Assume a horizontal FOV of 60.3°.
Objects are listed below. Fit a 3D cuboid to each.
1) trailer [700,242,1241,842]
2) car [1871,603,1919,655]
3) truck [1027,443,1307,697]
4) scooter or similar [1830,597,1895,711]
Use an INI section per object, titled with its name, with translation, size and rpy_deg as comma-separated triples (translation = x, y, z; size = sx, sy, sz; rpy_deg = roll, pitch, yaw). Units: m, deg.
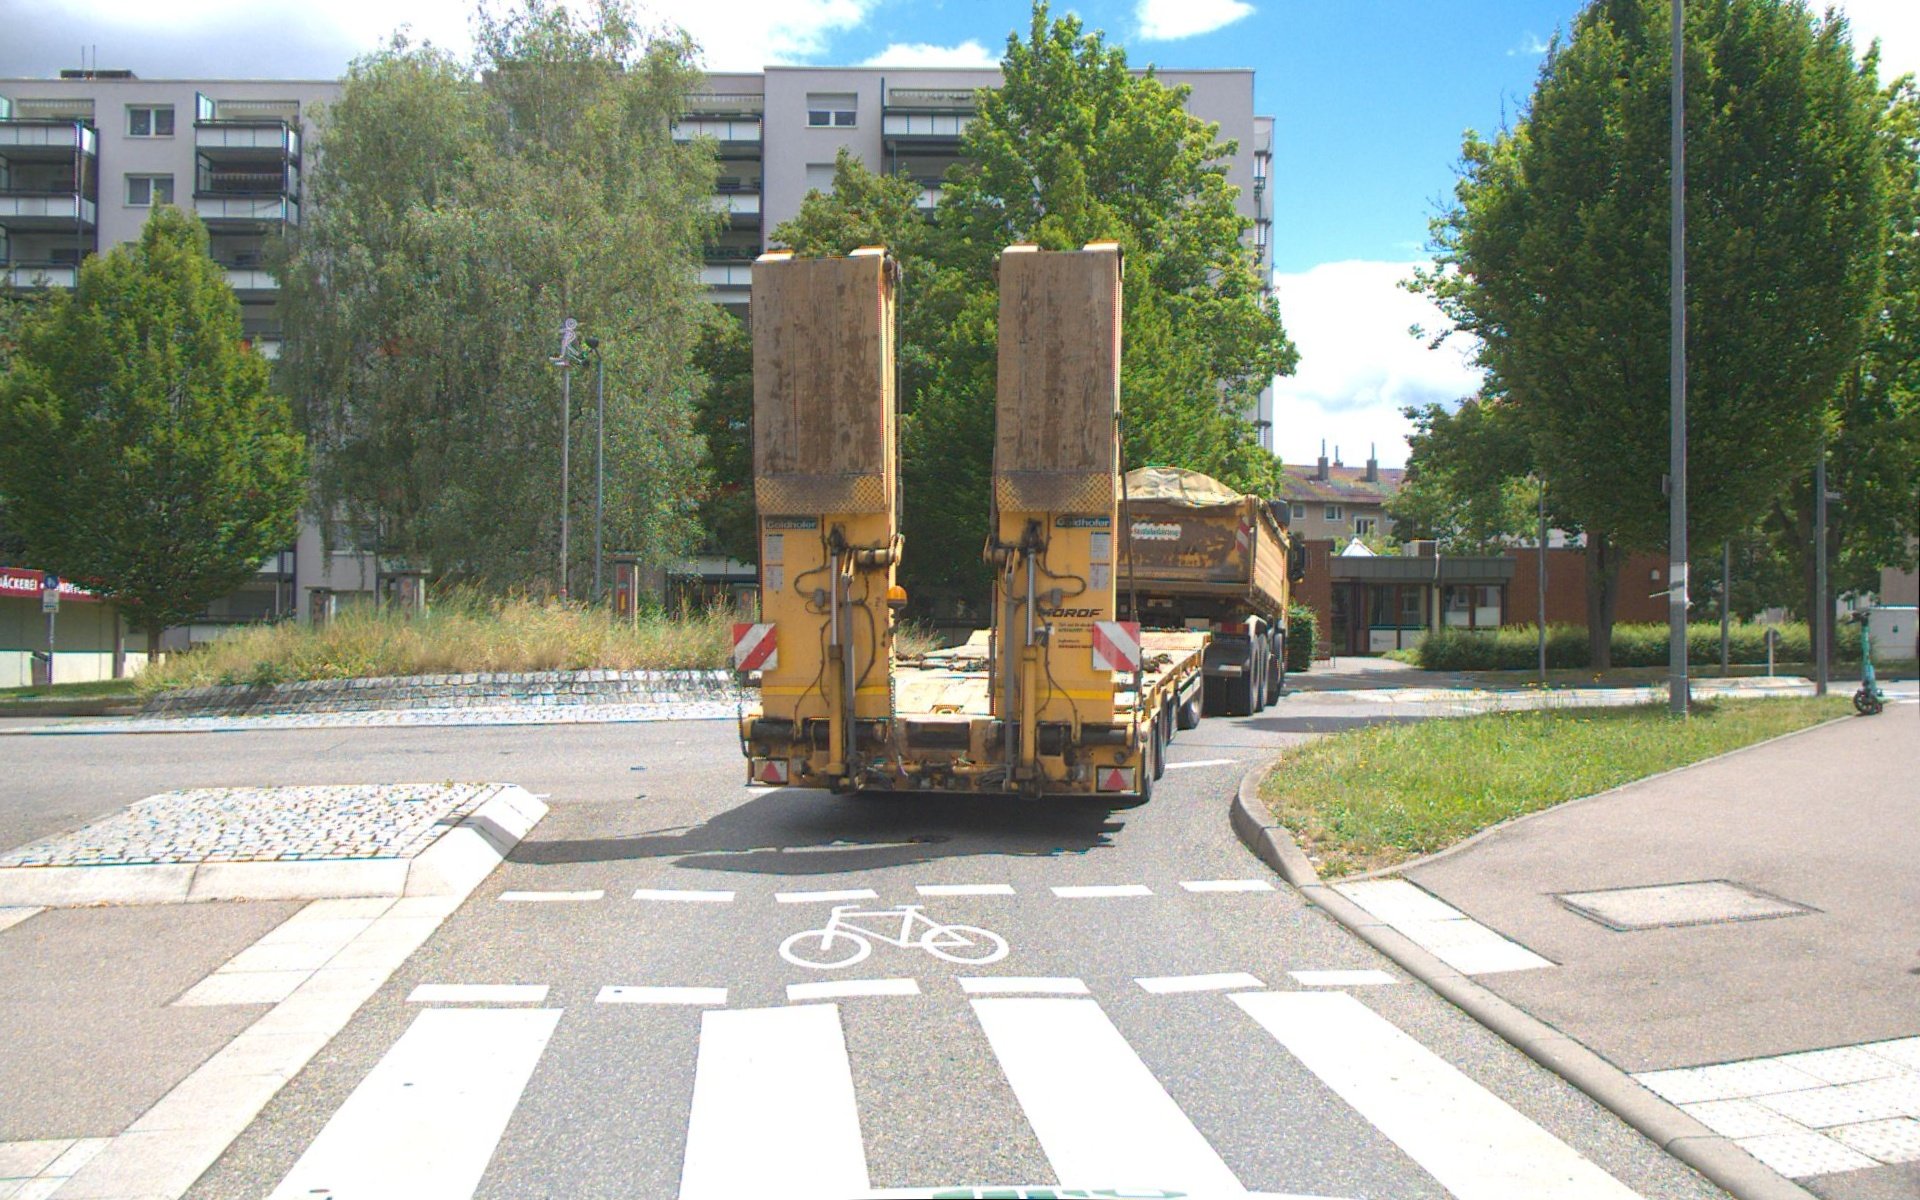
[trailer]
translation = 0.922, -0.391, 15.046
size = 2.802, 3.431, 10.850
rpy_deg = 1, 0, 12
[car]
translation = 37.663, 1.130, 64.092
size = 1.960, 1.975, 3.985
rpy_deg = 2, 0, -15
[truck]
translation = 3.396, -0.444, 24.651
size = 2.924, 3.087, 8.492
rpy_deg = 2, 1, 15
[scooter or similar]
translation = 11.355, 0.658, 20.800
size = 0.476, 1.366, 1.382
rpy_deg = -2, 0, 38
